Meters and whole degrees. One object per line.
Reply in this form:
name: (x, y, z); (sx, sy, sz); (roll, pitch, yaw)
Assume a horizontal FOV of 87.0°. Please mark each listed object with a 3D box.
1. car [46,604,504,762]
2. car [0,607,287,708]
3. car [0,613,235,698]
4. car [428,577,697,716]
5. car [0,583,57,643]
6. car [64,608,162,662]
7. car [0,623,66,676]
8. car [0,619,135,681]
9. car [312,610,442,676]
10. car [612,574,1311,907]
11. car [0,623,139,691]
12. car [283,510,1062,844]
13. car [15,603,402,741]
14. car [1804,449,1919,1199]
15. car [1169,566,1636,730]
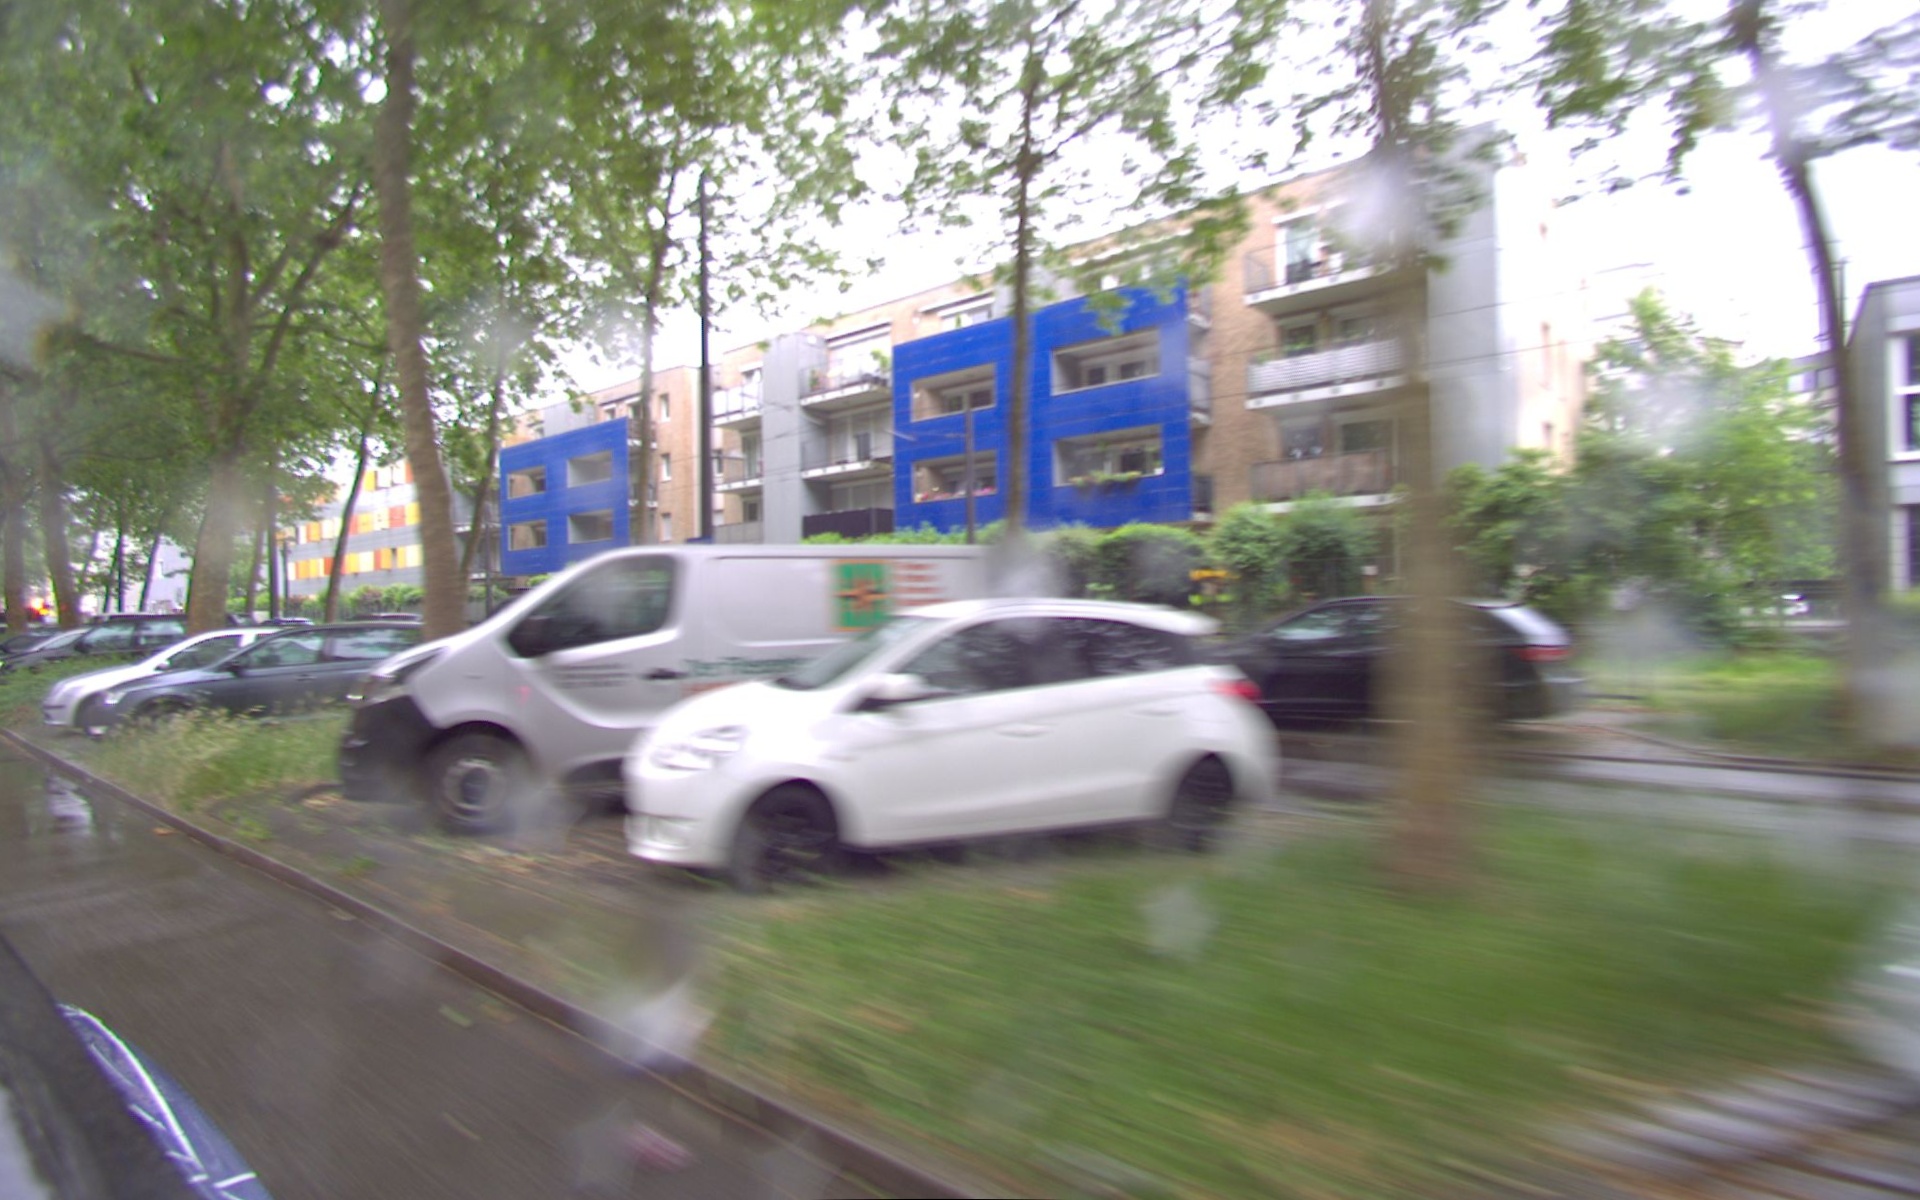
car: (-7.870, 0.879, 12.163); (4.241, 1.447, 1.753); (-3, 0, -23)
car: (-15.752, 1.039, 19.453); (4.341, 1.672, 1.936); (-2, 0, -21)
car: (-18.076, 1.112, 21.198); (4.342, 1.658, 1.878); (0, 0, -18)
car: (-6.950, 0.713, 17.442); (5.022, 2.028, 1.975); (-1, 2, 38)
car: (-38.670, 0.538, 39.577); (4.580, 2.300, 2.018); (-1, 0, -20)
car: (-34.899, 1.416, 41.636); (5.152, 2.015, 2.019); (-2, 1, 38)
car: (-31.038, 1.631, 31.811); (3.995, 1.549, 1.841); (-3, 1, -24)
car: (-25.062, 1.362, 27.546); (3.591, 1.490, 1.749); (-3, 1, -19)
car: (-17.438, 1.254, 30.197); (4.417, 1.753, 1.885); (-2, 1, 39)
car: (-0.067, 0.624, 5.968); (3.721, 1.493, 1.728); (-1, 0, -18)
car: (-23.515, 1.462, 25.372); (4.158, 1.490, 1.749); (-3, 1, -22)
car: (-1.975, 0.438, 7.838); (5.043, 1.992, 2.109); (-1, 0, -18)
car: (-10.134, 0.892, 14.076); (3.999, 1.510, 1.753); (-3, 0, -26)
car: (3.974, 0.462, 1.749); (4.482, 1.493, 1.780); (-1, 0, -19)
car: (4.670, 0.461, 10.984); (4.267, 1.431, 1.974); (-2, 0, 39)
